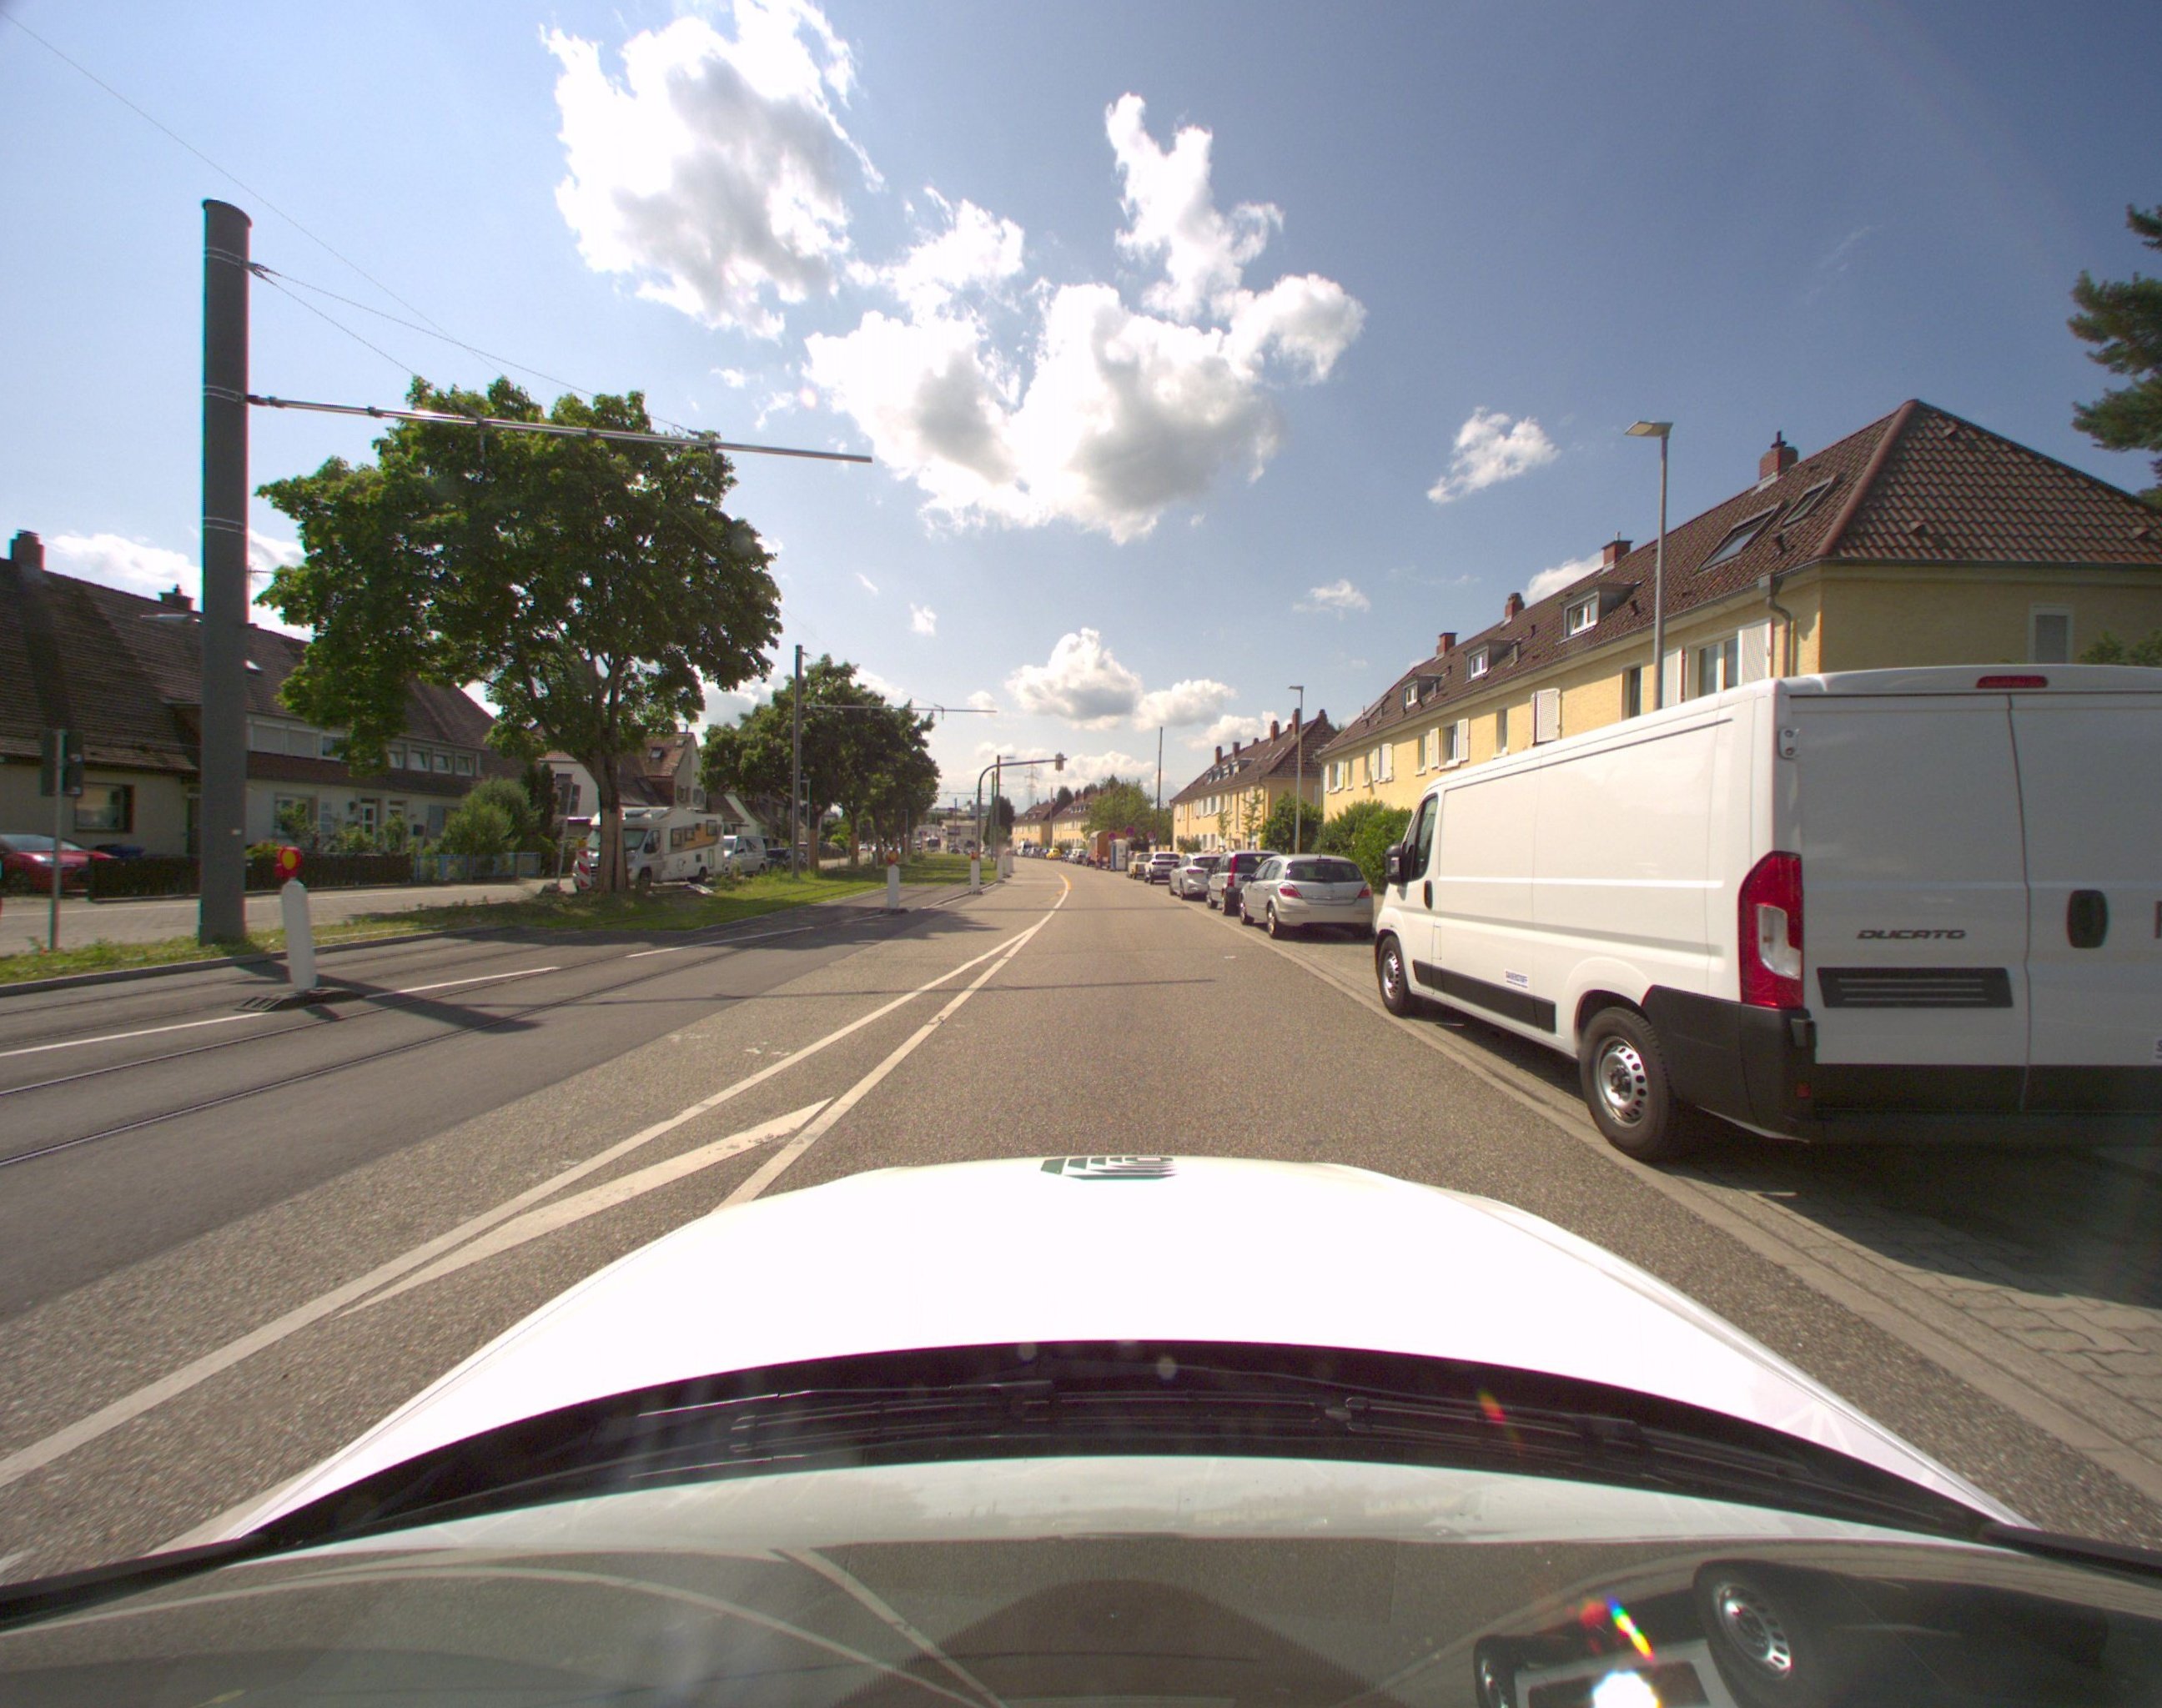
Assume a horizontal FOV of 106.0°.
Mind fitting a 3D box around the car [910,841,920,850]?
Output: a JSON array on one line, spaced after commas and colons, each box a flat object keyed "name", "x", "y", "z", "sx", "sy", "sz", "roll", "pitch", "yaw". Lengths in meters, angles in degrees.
[{"name": "car", "x": -45.262, "y": -2.218, "z": 222.236, "sx": 2.108, "sy": 2.443, "sz": 5.538, "roll": 1, "pitch": 0, "yaw": -18}]

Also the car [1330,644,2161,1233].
[{"name": "car", "x": 3.830, "y": 0.293, "z": 6.211, "sx": 2.267, "sy": 2.182, "sz": 6.374, "roll": 0, "pitch": 0, "yaw": 3}]

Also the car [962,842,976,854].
[{"name": "car", "x": -24.899, "y": -1.359, "z": 180.797, "sx": 1.965, "sy": 2.478, "sz": 6.022, "roll": -1, "pitch": 1, "yaw": -19}]

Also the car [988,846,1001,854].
[{"name": "car", "x": -16.459, "y": -0.817, "z": 154.773, "sx": 1.768, "sy": 1.417, "sz": 3.976, "roll": -1, "pitch": 1, "yaw": -18}]

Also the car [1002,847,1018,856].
[{"name": "car", "x": -12.358, "y": -0.384, "z": 141.198, "sx": 1.804, "sy": 1.458, "sz": 4.736, "roll": -1, "pitch": 0, "yaw": -18}]

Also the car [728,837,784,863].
[{"name": "car", "x": -25.473, "y": -0.305, "z": 63.845, "sx": 3.903, "sy": 1.897, "sz": 1.926, "roll": 3, "pitch": -1, "yaw": -26}]

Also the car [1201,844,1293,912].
[{"name": "car", "x": 4.054, "y": 0.545, "z": 20.415, "sx": 1.622, "sy": 1.550, "sz": 3.810, "roll": 0, "pitch": 0, "yaw": 1}]

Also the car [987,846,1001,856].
[{"name": "car", "x": -12.924, "y": -0.453, "z": 120.878, "sx": 1.666, "sy": 1.449, "sz": 3.944, "roll": -2, "pitch": 1, "yaw": -12}]

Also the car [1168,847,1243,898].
[{"name": "car", "x": 3.889, "y": 0.541, "z": 26.094, "sx": 1.744, "sy": 1.497, "sz": 4.385, "roll": 0, "pitch": 0, "yaw": 0}]

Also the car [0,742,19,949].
[{"name": "car", "x": -15.062, "y": -0.123, "z": 8.207, "sx": 2.145, "sy": 2.668, "sz": 4.917, "roll": 1, "pitch": 0, "yaw": 1}]

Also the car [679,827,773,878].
[{"name": "car", "x": -15.218, "y": -0.088, "z": 35.237, "sx": 1.988, "sy": 2.013, "sz": 4.901, "roll": 1, "pitch": 0, "yaw": -1}]

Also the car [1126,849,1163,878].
[{"name": "car", "x": 3.397, "y": 0.474, "z": 44.325, "sx": 1.460, "sy": 1.502, "sz": 4.104, "roll": 0, "pitch": 0, "yaw": -3}]

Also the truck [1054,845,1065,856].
[{"name": "truck", "x": -3.391, "y": -0.534, "z": 127.694, "sx": 1.348, "sy": 1.688, "sz": 2.430, "roll": 1, "pitch": 0, "yaw": -14}]

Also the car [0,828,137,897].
[{"name": "car", "x": -24.847, "y": 0.166, "z": 18.990, "sx": 3.606, "sy": 1.522, "sz": 1.670, "roll": 1, "pitch": 0, "yaw": -1}]

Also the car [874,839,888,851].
[{"name": "car", "x": -44.121, "y": -2.010, "z": 179.277, "sx": 2.082, "sy": 2.721, "sz": 6.952, "roll": -1, "pitch": 1, "yaw": -22}]

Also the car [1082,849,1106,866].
[{"name": "car", "x": 1.137, "y": 0.302, "z": 74.443, "sx": 1.576, "sy": 1.449, "sz": 4.441, "roll": 1, "pitch": 0, "yaw": -8}]

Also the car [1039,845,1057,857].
[{"name": "car", "x": -4.441, "y": -0.422, "z": 109.616, "sx": 1.638, "sy": 1.482, "sz": 4.106, "roll": 1, "pitch": 0, "yaw": -13}]

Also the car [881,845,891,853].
[{"name": "car", "x": -40.314, "y": -1.069, "z": 168.158, "sx": 1.732, "sy": 1.505, "sz": 4.542, "roll": -1, "pitch": 1, "yaw": -17}]

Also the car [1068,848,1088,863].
[{"name": "car", "x": -0.388, "y": 0.162, "z": 87.306, "sx": 1.576, "sy": 1.513, "sz": 4.448, "roll": 1, "pitch": 0, "yaw": -8}]

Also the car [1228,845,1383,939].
[{"name": "car", "x": 3.997, "y": 0.595, "z": 15.250, "sx": 1.702, "sy": 1.504, "sz": 4.254, "roll": 0, "pitch": 0, "yaw": -1}]

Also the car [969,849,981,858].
[{"name": "car", "x": -18.623, "y": -0.106, "z": 143.313, "sx": 1.727, "sy": 1.389, "sz": 4.102, "roll": 1, "pitch": 0, "yaw": -14}]

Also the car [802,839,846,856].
[{"name": "car", "x": -29.090, "y": -0.720, "z": 92.278, "sx": 4.474, "sy": 1.836, "sz": 2.056, "roll": 1, "pitch": 0, "yaw": -13}]

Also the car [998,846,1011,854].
[{"name": "car", "x": -13.742, "y": -0.725, "z": 146.320, "sx": 1.625, "sy": 1.417, "sz": 3.976, "roll": -1, "pitch": 1, "yaw": -18}]

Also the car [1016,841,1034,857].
[{"name": "car", "x": -8.839, "y": -0.776, "z": 128.802, "sx": 1.932, "sy": 2.480, "sz": 5.491, "roll": 0, "pitch": 0, "yaw": -14}]

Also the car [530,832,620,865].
[{"name": "car", "x": -29.469, "y": -0.323, "z": 47.535, "sx": 3.983, "sy": 1.737, "sz": 1.794, "roll": 2, "pitch": 0, "yaw": -7}]

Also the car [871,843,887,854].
[{"name": "car", "x": -32.701, "y": -0.877, "z": 132.125, "sx": 1.879, "sy": 1.768, "sz": 5.071, "roll": 1, "pitch": 0, "yaw": -7}]

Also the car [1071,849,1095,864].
[{"name": "car", "x": 0.178, "y": 0.242, "z": 82.252, "sx": 1.705, "sy": 1.449, "sz": 4.822, "roll": 1, "pitch": 0, "yaw": -8}]

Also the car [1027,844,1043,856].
[{"name": "car", "x": -6.762, "y": -0.626, "z": 118.822, "sx": 1.638, "sy": 1.602, "sz": 4.011, "roll": 1, "pitch": 0, "yaw": -13}]

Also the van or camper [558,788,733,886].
[{"name": "van or camper", "x": -14.906, "y": -0.543, "z": 28.632, "sx": 2.369, "sy": 2.970, "sz": 7.291, "roll": 1, "pitch": 0, "yaw": -2}]

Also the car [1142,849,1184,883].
[{"name": "car", "x": 3.763, "y": 0.518, "z": 37.987, "sx": 1.523, "sy": 1.481, "sz": 3.807, "roll": 0, "pitch": 0, "yaw": -1}]

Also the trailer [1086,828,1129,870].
[{"name": "trailer", "x": 2.075, "y": -0.371, "z": 66.033, "sx": 2.687, "sy": 3.226, "sz": 5.070, "roll": 1, "pitch": 0, "yaw": -7}]

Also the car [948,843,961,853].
[{"name": "car", "x": -25.345, "y": -1.306, "z": 163.420, "sx": 1.959, "sy": 1.966, "sz": 5.264, "roll": 0, "pitch": 1, "yaw": -16}]

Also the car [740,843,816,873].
[{"name": "car", "x": -15.199, "y": 0.190, "z": 41.168, "sx": 1.845, "sy": 1.387, "sz": 4.812, "roll": 1, "pitch": 0, "yaw": 3}]

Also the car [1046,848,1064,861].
[{"name": "car", "x": -3.357, "y": 0.035, "z": 104.538, "sx": 1.637, "sy": 1.482, "sz": 3.917, "roll": -2, "pitch": 2, "yaw": -11}]

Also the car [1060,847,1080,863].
[{"name": "car", "x": -1.279, "y": 0.091, "z": 92.354, "sx": 1.549, "sy": 1.641, "sz": 4.231, "roll": 1, "pitch": 0, "yaw": -11}]

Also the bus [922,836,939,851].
[{"name": "bus", "x": -36.266, "y": -2.516, "z": 196.409, "sx": 2.643, "sy": 3.412, "sz": 12.177, "roll": -1, "pitch": 1, "yaw": -17}]
